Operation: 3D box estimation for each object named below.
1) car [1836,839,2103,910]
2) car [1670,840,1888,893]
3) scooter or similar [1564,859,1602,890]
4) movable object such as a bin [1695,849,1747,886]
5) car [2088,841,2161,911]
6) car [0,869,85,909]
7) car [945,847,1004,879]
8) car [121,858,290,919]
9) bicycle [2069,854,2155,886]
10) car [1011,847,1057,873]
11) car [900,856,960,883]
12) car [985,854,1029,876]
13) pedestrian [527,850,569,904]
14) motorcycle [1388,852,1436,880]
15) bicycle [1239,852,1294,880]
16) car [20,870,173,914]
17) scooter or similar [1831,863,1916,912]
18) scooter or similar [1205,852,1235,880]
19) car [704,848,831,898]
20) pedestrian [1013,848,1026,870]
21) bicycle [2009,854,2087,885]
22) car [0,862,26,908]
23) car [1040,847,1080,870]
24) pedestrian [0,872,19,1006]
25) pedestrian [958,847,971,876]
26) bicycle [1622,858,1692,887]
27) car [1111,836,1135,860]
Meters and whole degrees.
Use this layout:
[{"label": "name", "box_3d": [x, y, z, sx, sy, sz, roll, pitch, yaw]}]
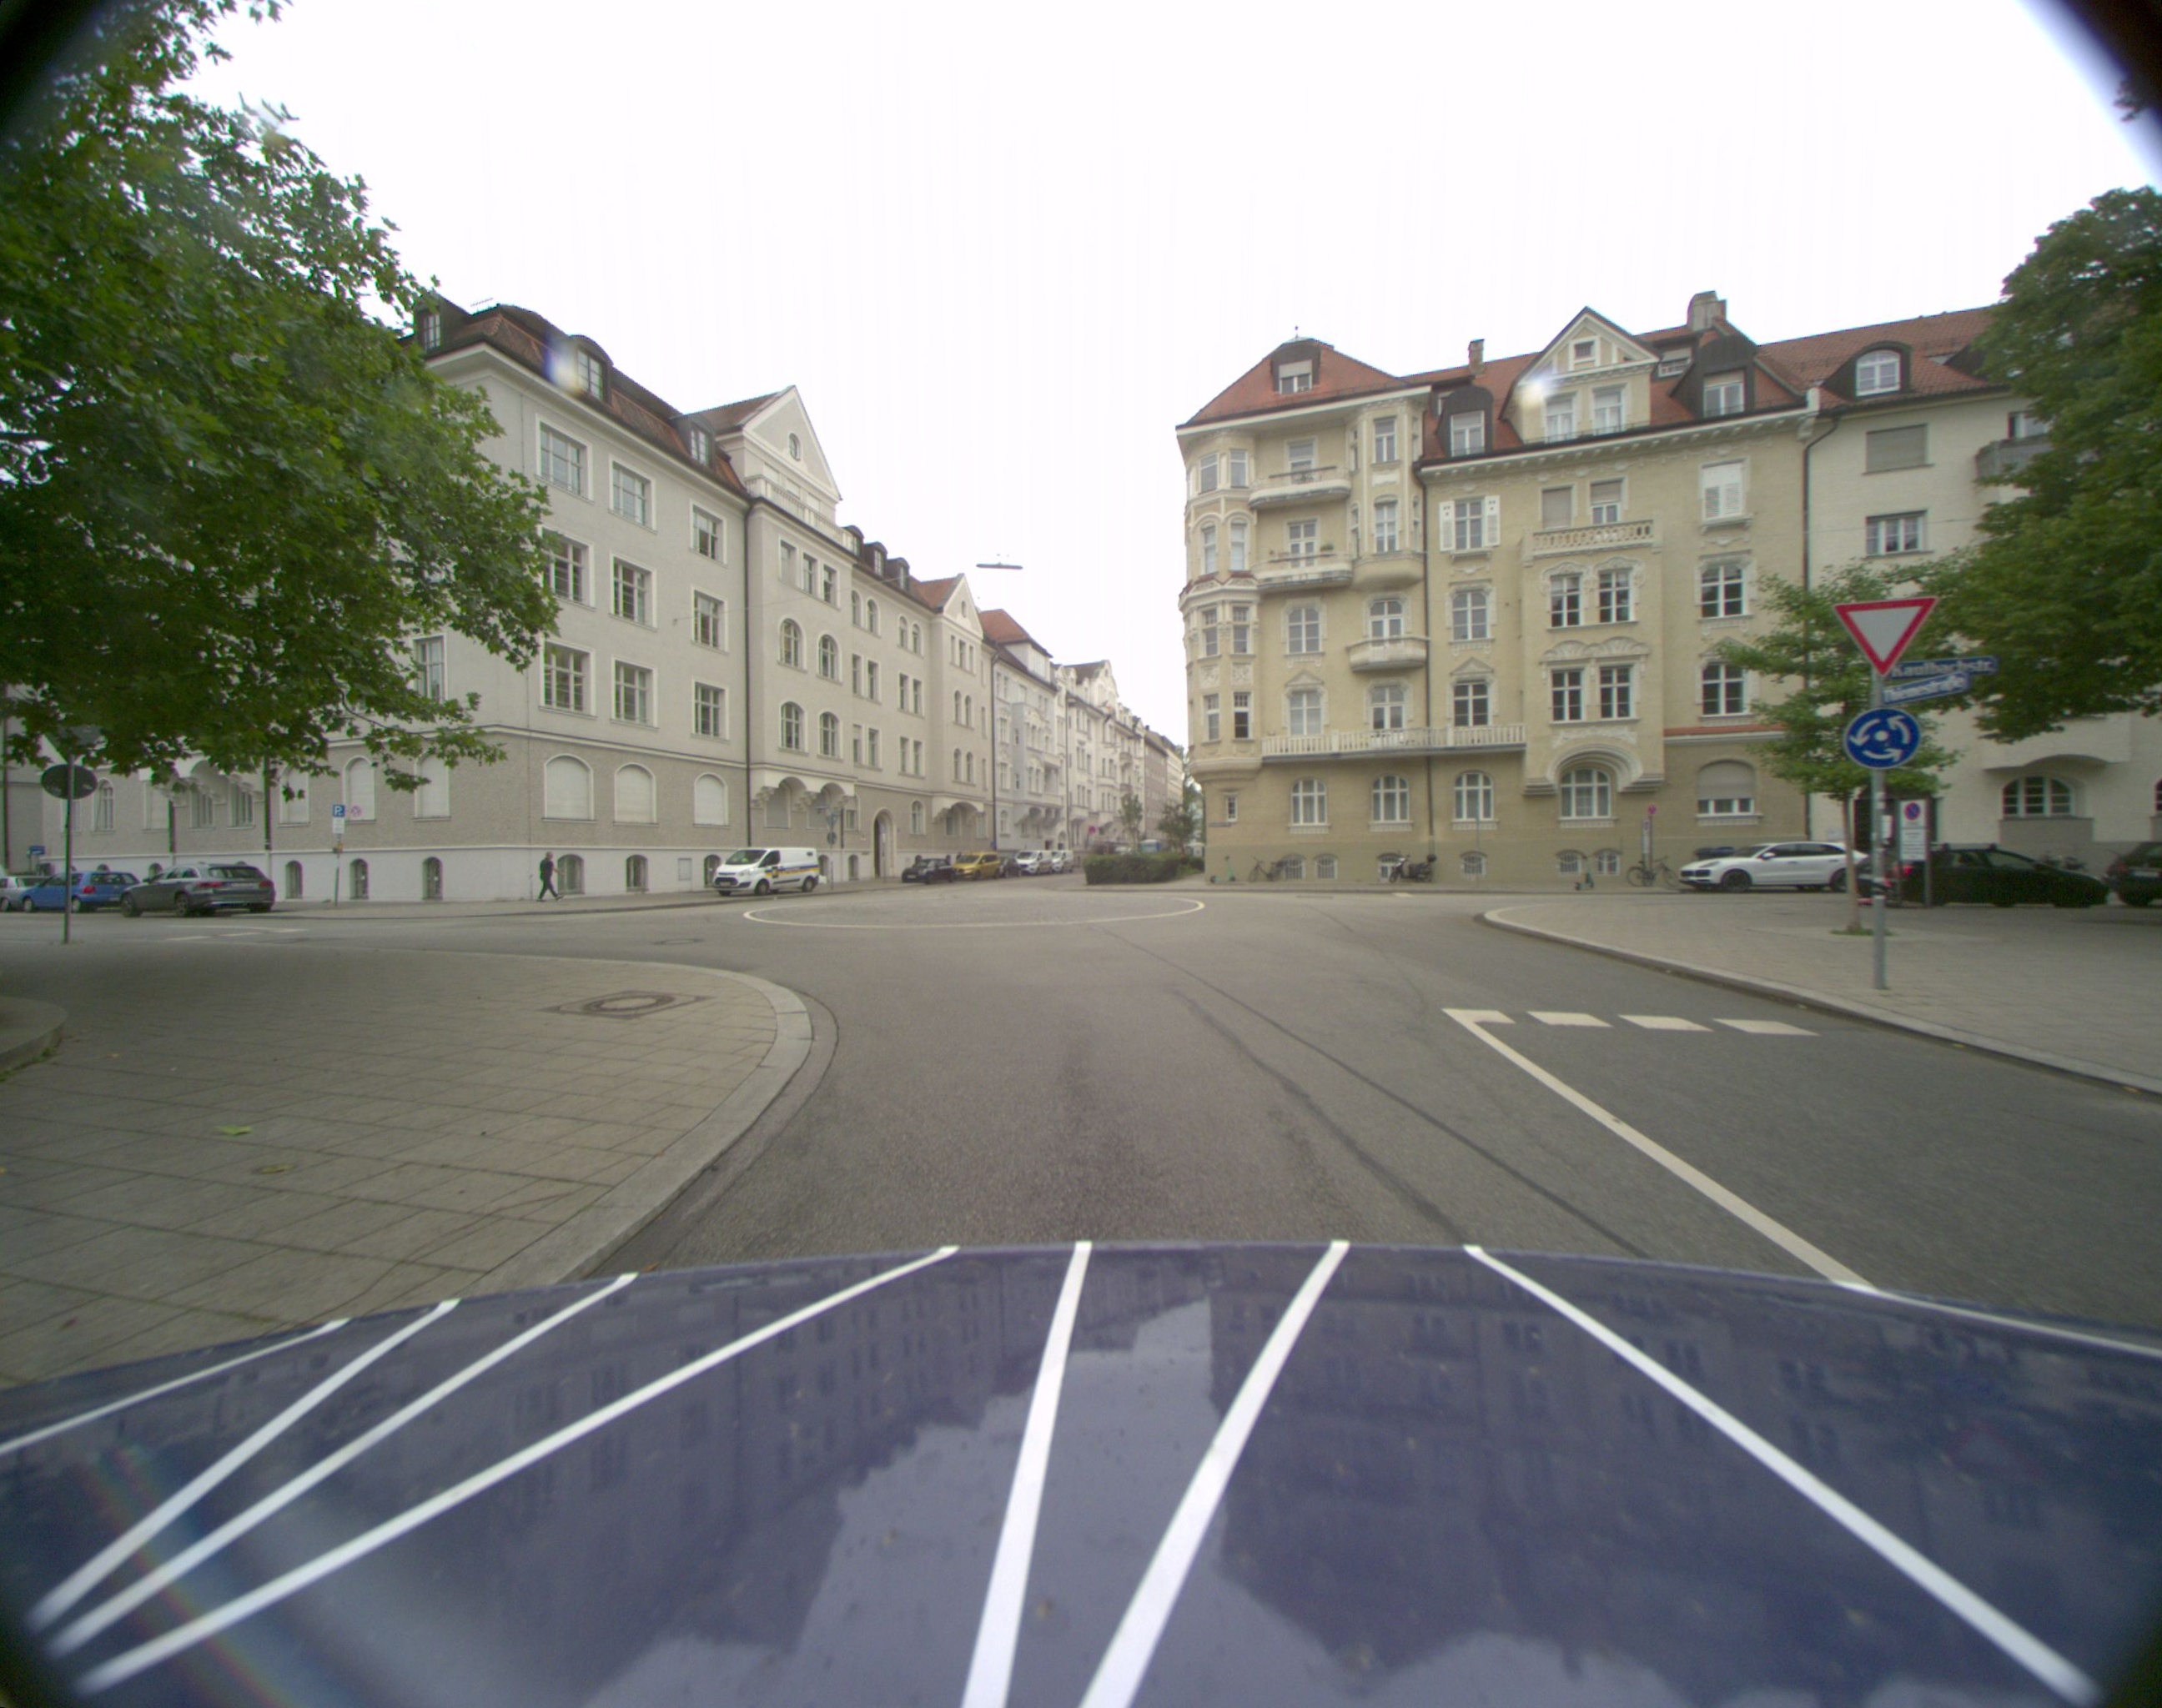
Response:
[{"label": "car", "box_3d": [20.187, 0.480, 17.462, 3.669, 1.518, 1.678, -1, -2, 15]}, {"label": "car", "box_3d": [23.011, 0.406, 25.305, 4.980, 1.666, 2.002, -1, 1, 15]}, {"label": "scooter or similar", "box_3d": [18.032, 0.725, 27.288, 1.349, 1.102, 0.541, -1, 1, -28]}, {"label": "movable object such as a bin", "box_3d": [24.412, 0.514, 29.019, 1.178, 1.363, 1.149, 0, 1, 18]}, {"label": "car", "box_3d": [25.338, 0.474, 16.649, 3.669, 1.518, 1.678, -1, -2, 15]}, {"label": "car", "box_3d": [-39.998, 1.291, 28.584, 3.832, 1.396, 1.800, -1, 1, 17]}, {"label": "car", "box_3d": [-6.758, 0.538, 48.740, 1.996, 1.907, 4.576, 0, 1, 17]}, {"label": "car", "box_3d": [-27.593, 1.039, 23.987, 4.242, 1.785, 1.895, -1, 1, 17]}, {"label": "bicycle", "box_3d": [35.258, 0.559, 25.996, 1.812, 1.062, 0.654, -1, 1, 8]}, {"label": "car", "box_3d": [-3.588, 0.424, 59.373, 1.996, 1.907, 4.892, 0, 1, 17]}, {"label": "car", "box_3d": [-8.592, 0.863, 43.655, 1.714, 1.437, 3.832, 0, 1, 18]}, {"label": "car", "box_3d": [-5.188, 0.750, 54.013, 1.635, 1.505, 3.890, -1, 0, 18]}, {"label": "pedestrian", "box_3d": [-18.169, 0.764, 25.922, 0.931, 1.790, 0.998, -1, 1, -22]}, {"label": "motorcycle", "box_3d": [14.004, 0.511, 32.214, 1.743, 1.179, 0.743, -1, 1, 13]}, {"label": "bicycle", "box_3d": [8.300, 0.548, 34.032, 2.336, 1.196, 0.700, -1, 1, 12]}, {"label": "car", "box_3d": [-34.826, 1.311, 26.905, 4.242, 1.396, 1.895, -1, 1, 17]}, {"label": "scooter or similar", "box_3d": [17.186, 0.707, 16.513, 0.528, 1.018, 1.312, -1, 0, 4]}, {"label": "scooter or similar", "box_3d": [6.280, 0.534, 34.375, 1.283, 1.264, 0.459, -1, 1, -1]}, {"label": "car", "box_3d": [-12.924, 0.696, 31.795, 1.940, 1.911, 5.381, 1, 1, 17]}, {"label": "pedestrian", "box_3d": [-5.315, 0.409, 66.077, 0.852, 1.892, 0.747, 0, 1, 20]}, {"label": "bicycle", "box_3d": [33.938, 0.545, 26.691, 1.812, 1.062, 0.551, -1, 1, 8]}, {"label": "car", "box_3d": [-43.948, 1.239, 29.801, 3.832, 1.773, 1.800, -1, 1, 17]}, {"label": "car", "box_3d": [-1.758, 0.368, 65.357, 1.996, 1.907, 4.884, 0, 1, 17]}, {"label": "pedestrian", "box_3d": [-11.480, 0.871, 7.396, 0.770, 1.349, 1.133, -1, 1, 19]}, {"label": "pedestrian", "box_3d": [-7.943, 0.503, 51.876, 0.584, 2.002, 0.728, -1, 1, 20]}, {"label": "bicycle", "box_3d": [21.167, 0.676, 27.956, 1.973, 1.062, 0.654, -1, 1, 8]}, {"label": "car", "box_3d": [4.987, -0.723, 90.185, 2.080, 2.673, 5.449, 1, 1, 11]}]
